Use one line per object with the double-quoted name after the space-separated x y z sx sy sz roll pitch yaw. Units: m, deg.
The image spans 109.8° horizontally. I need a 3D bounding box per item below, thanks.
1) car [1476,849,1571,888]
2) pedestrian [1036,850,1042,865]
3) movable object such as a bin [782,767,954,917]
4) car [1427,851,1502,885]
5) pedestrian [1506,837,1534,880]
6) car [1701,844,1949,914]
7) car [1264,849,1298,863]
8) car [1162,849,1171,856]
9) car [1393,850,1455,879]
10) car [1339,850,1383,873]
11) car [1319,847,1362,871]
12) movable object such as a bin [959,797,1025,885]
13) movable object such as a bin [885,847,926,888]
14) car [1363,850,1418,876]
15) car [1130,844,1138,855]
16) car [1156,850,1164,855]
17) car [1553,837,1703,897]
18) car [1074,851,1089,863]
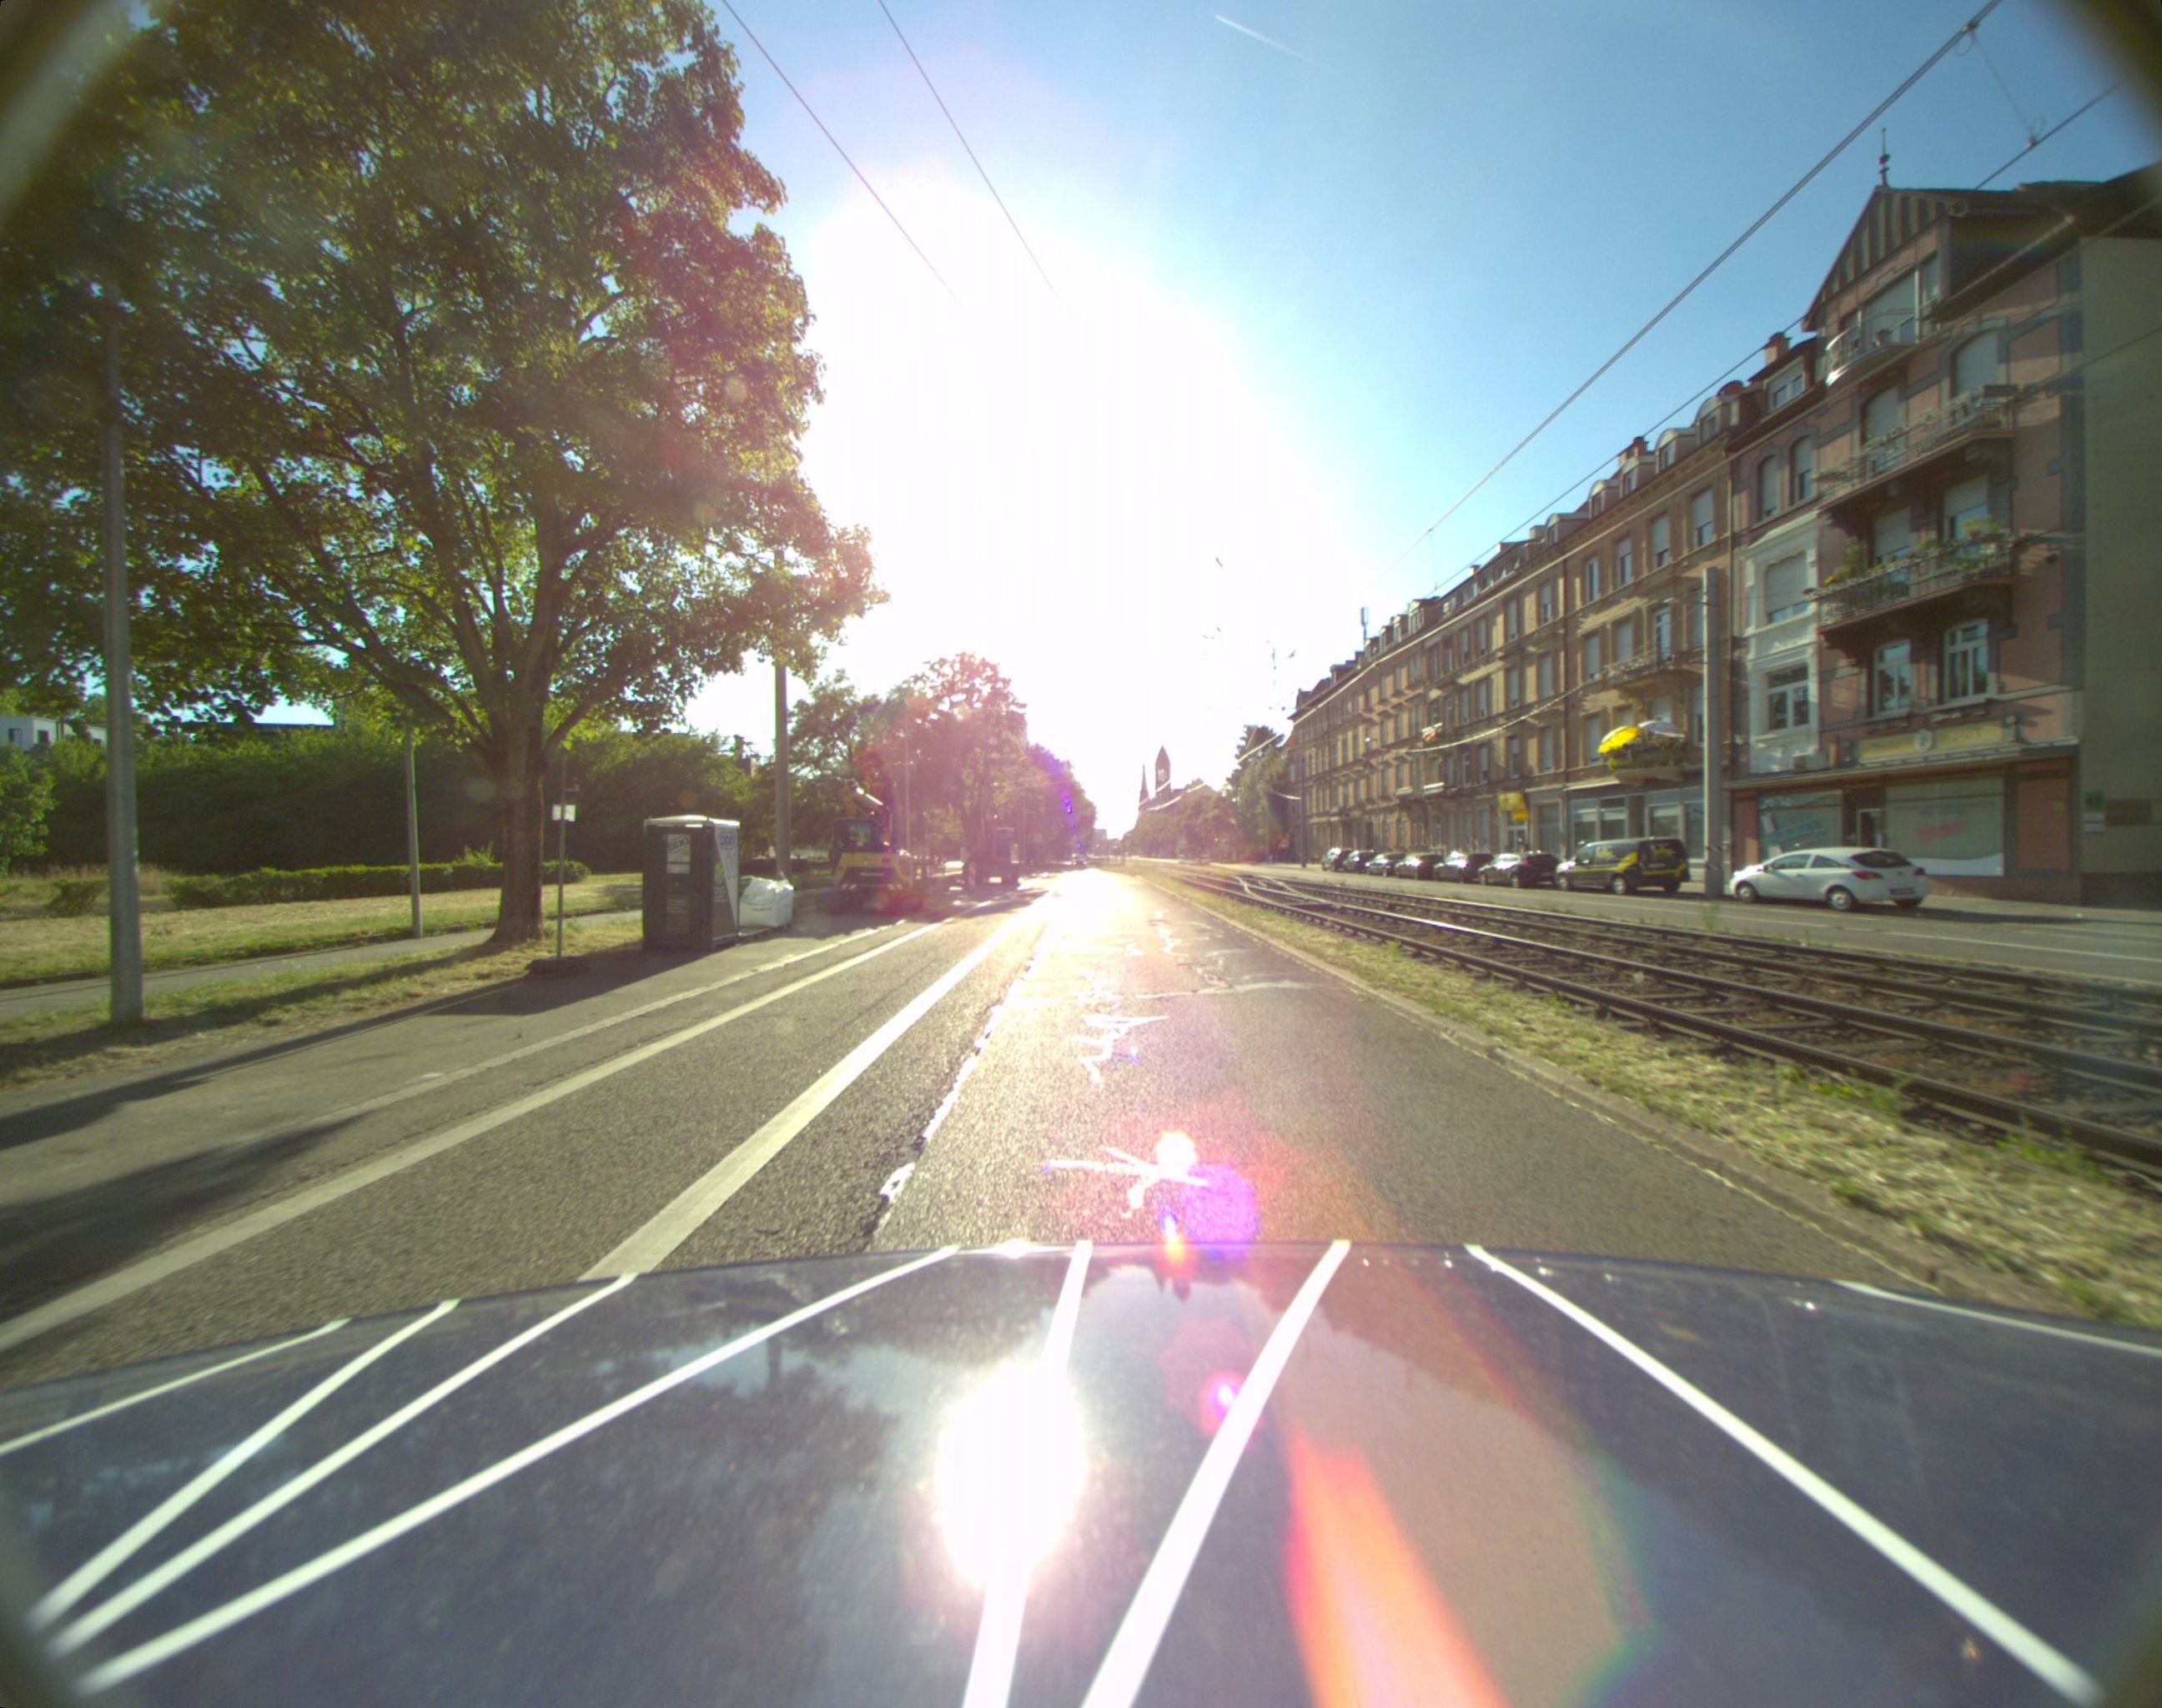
18.383 0.547 31.747 1.664 1.437 3.980 -3 1 1 "car"
-4.479 0.383 81.651 0.532 1.653 0.486 1 1 -22 "pedestrian"
-6.374 -0.352 24.264 3.347 3.953 7.597 2 1 -1 "movable object such as a bin"
18.622 0.648 37.074 1.664 1.437 3.980 -3 1 1 "car"
20.835 0.213 36.090 0.637 2.002 0.875 -4 2 -28 "pedestrian"
18.851 0.555 19.640 1.925 1.529 4.627 -2 1 1 "car"
25.796 0.245 97.920 3.991 1.502 1.802 -3 2 22 "car"
21.404 -0.382 190.024 1.799 1.501 3.999 -1 1 -1 "car"
19.038 0.554 42.380 1.664 1.437 3.980 -3 1 1 "car"
19.352 0.478 52.585 1.664 1.437 3.765 -3 1 1 "car"
19.395 0.331 56.942 1.798 1.633 4.631 -3 1 3 "car"
-5.004 -0.724 44.161 2.922 4.584 7.597 2 1 -1 "movable object such as a bin"
-7.679 0.574 33.289 1.320 1.659 1.303 5 1 5 "movable object such as a bin"
19.088 0.497 47.053 1.664 1.437 4.196 -3 1 1 "car"
13.162 -1.058 189.624 1.799 2.766 3.999 -1 1 0 "car"
20.847 -0.411 200.355 1.799 1.501 3.999 -1 1 -1 "car"
18.553 0.396 26.084 1.664 1.797 4.727 -3 1 0 "car"
0.080 0.399 103.031 1.799 1.501 4.000 -3 0 1 "car"
